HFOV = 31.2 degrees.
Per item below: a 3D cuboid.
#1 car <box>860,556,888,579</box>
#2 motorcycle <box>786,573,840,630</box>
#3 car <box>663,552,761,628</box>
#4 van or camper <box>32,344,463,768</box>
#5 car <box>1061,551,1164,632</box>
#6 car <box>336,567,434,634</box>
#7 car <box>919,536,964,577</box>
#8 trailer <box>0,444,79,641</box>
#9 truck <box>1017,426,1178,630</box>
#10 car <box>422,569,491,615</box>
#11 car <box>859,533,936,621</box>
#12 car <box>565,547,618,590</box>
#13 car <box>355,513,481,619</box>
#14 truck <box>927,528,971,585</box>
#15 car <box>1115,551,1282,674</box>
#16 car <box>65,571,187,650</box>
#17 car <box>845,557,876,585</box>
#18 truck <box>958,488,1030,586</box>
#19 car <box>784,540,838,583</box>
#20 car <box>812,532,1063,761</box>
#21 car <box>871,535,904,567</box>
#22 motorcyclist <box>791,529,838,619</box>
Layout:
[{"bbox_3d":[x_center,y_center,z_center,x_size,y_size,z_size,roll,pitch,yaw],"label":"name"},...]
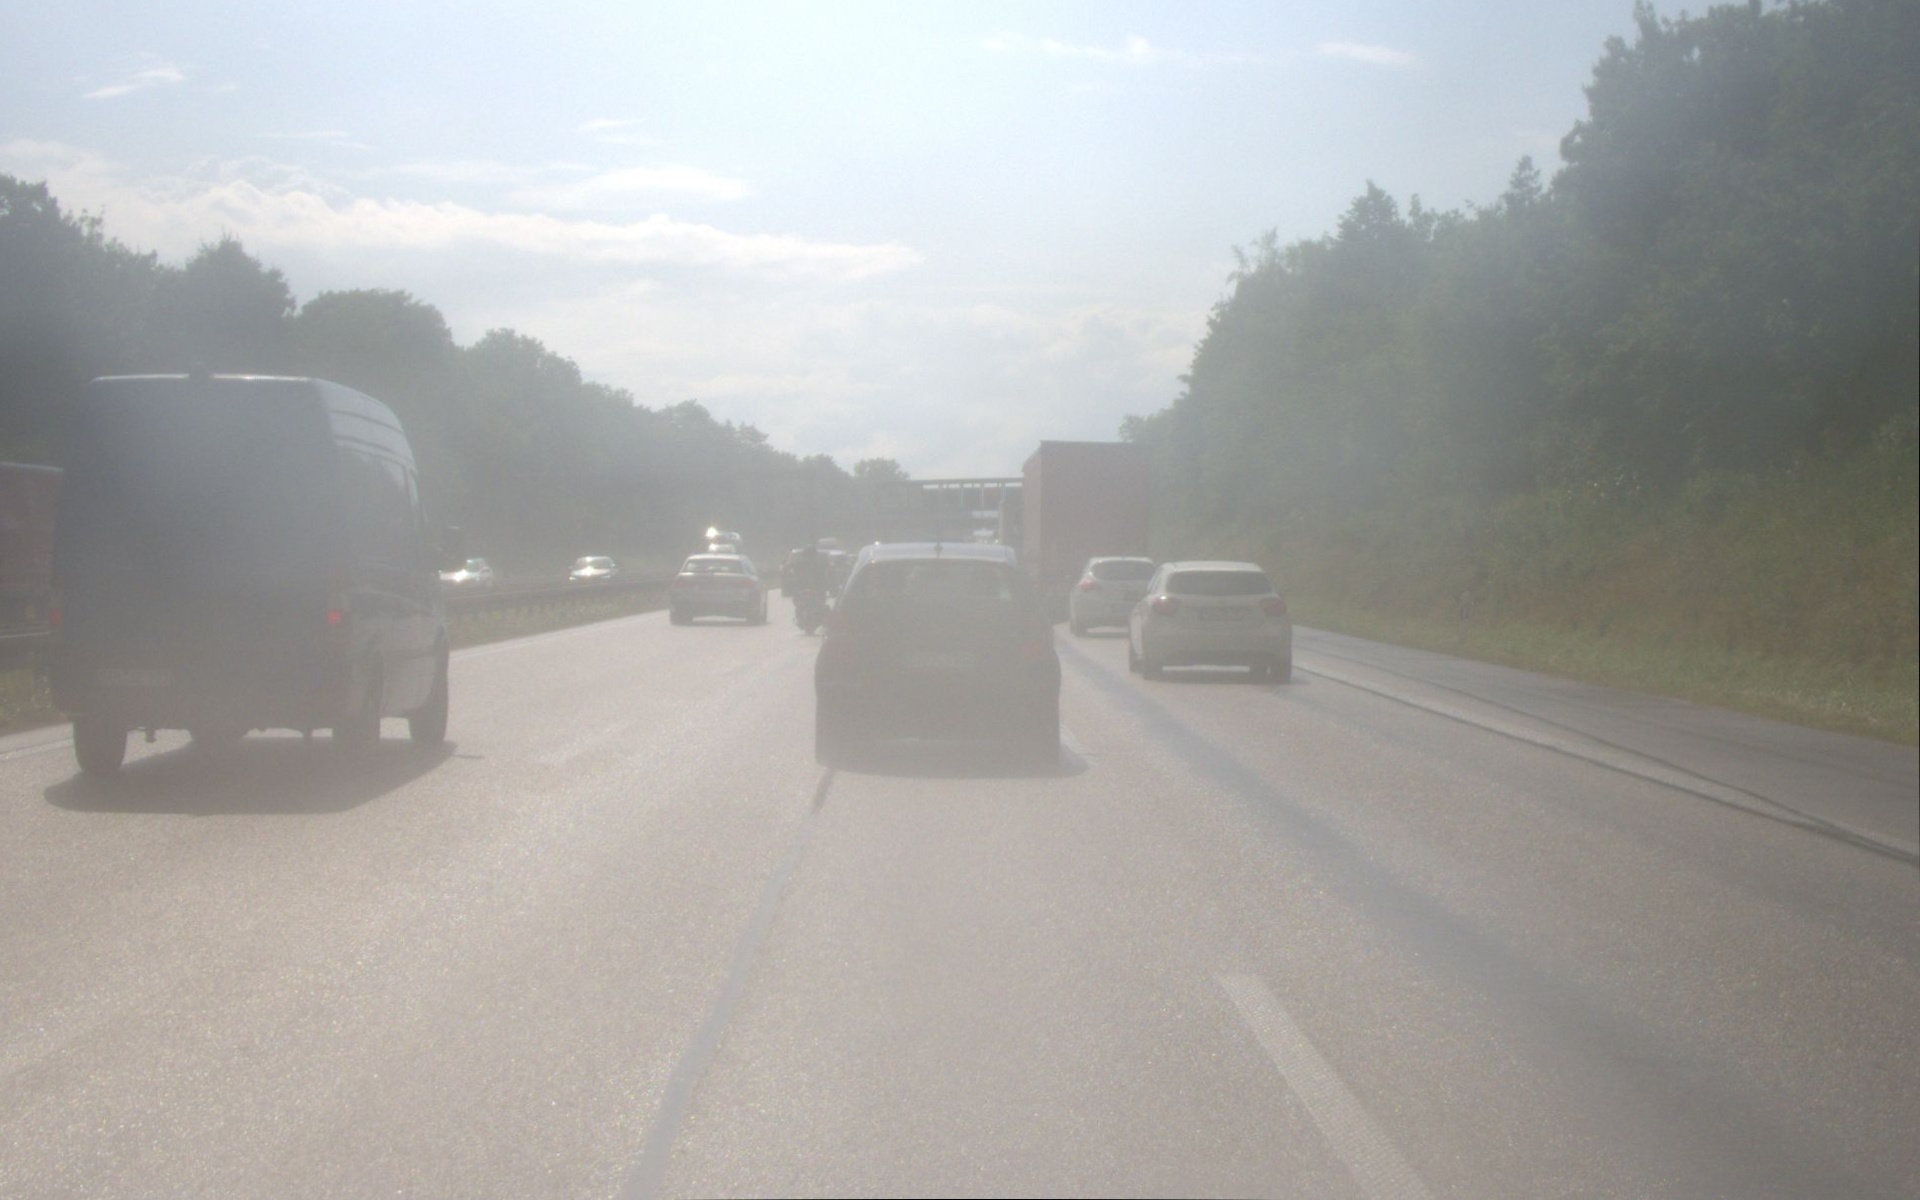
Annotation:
[{"bbox_3d":[-4.862,-1.834,195.037,1.549,1.262,3.485,1,1,-1],"label":"car"},{"bbox_3d":[-2.669,0.023,62.751,0.890,0.997,2.896,1,1,-1],"label":"motorcycle"},{"bbox_3d":[-5.184,-0.225,72.231,1.854,1.546,3.485,1,1,-1],"label":"car"},{"bbox_3d":[-4.896,-0.309,24.427,1.993,2.659,5.385,1,1,-1],"label":"van or camper"},{"bbox_3d":[2.815,-0.171,64.086,1.680,1.437,3.905,1,1,-1],"label":"car"},{"bbox_3d":[-14.792,-0.002,88.663,1.837,1.657,4.441,1,1,-1],"label":"car"},{"bbox_3d":[-0.655,-1.525,120.654,1.552,1.378,3.210,1,1,-1],"label":"car"},{"bbox_3d":[-22.682,-1.288,76.222,2.863,4.358,14.093,1,1,-1],"label":"trailer"},{"bbox_3d":[3.332,-1.767,88.290,3.650,4.704,16.779,1,1,1],"label":"truck"},{"bbox_3d":[-19.109,-0.323,130.626,2.016,1.657,4.699,1,1,-1],"label":"car"},{"bbox_3d":[-1.284,-0.485,70.696,1.531,1.740,3.485,1,1,-1],"label":"car"},{"bbox_3d":[-14.681,-1.261,137.184,1.731,1.657,4.236,1,1,-1],"label":"car"},{"bbox_3d":[-12.990,-0.821,82.668,2.183,2.444,5.748,1,1,-1],"label":"car"},{"bbox_3d":[-0.582,-2.264,178.063,2.192,2.865,4.850,1,1,-1],"label":"truck"},{"bbox_3d":[2.890,0.119,42.452,1.692,1.420,4.220,1,1,-1],"label":"car"},{"bbox_3d":[-18.338,0.215,75.751,1.699,1.657,4.236,1,1,-1],"label":"car"},{"bbox_3d":[-4.959,-1.464,171.892,1.485,1.385,3.198,1,1,-1],"label":"car"},{"bbox_3d":[1.666,-2.945,163.842,3.256,4.464,12.421,1,1,1],"label":"truck"},{"bbox_3d":[-5.122,-1.325,118.397,1.751,1.452,3.390,1,1,-1],"label":"car"},{"bbox_3d":[-0.181,0.300,25.529,1.717,1.562,3.485,1,1,-1],"label":"car"},{"bbox_3d":[-4.542,-3.085,216.304,1.993,2.007,4.000,-1,1,-1],"label":"car"},{"bbox_3d":[-2.647,-0.476,62.702,0.801,1.627,1.013,1,1,-1],"label":"motorcyclist"}]
